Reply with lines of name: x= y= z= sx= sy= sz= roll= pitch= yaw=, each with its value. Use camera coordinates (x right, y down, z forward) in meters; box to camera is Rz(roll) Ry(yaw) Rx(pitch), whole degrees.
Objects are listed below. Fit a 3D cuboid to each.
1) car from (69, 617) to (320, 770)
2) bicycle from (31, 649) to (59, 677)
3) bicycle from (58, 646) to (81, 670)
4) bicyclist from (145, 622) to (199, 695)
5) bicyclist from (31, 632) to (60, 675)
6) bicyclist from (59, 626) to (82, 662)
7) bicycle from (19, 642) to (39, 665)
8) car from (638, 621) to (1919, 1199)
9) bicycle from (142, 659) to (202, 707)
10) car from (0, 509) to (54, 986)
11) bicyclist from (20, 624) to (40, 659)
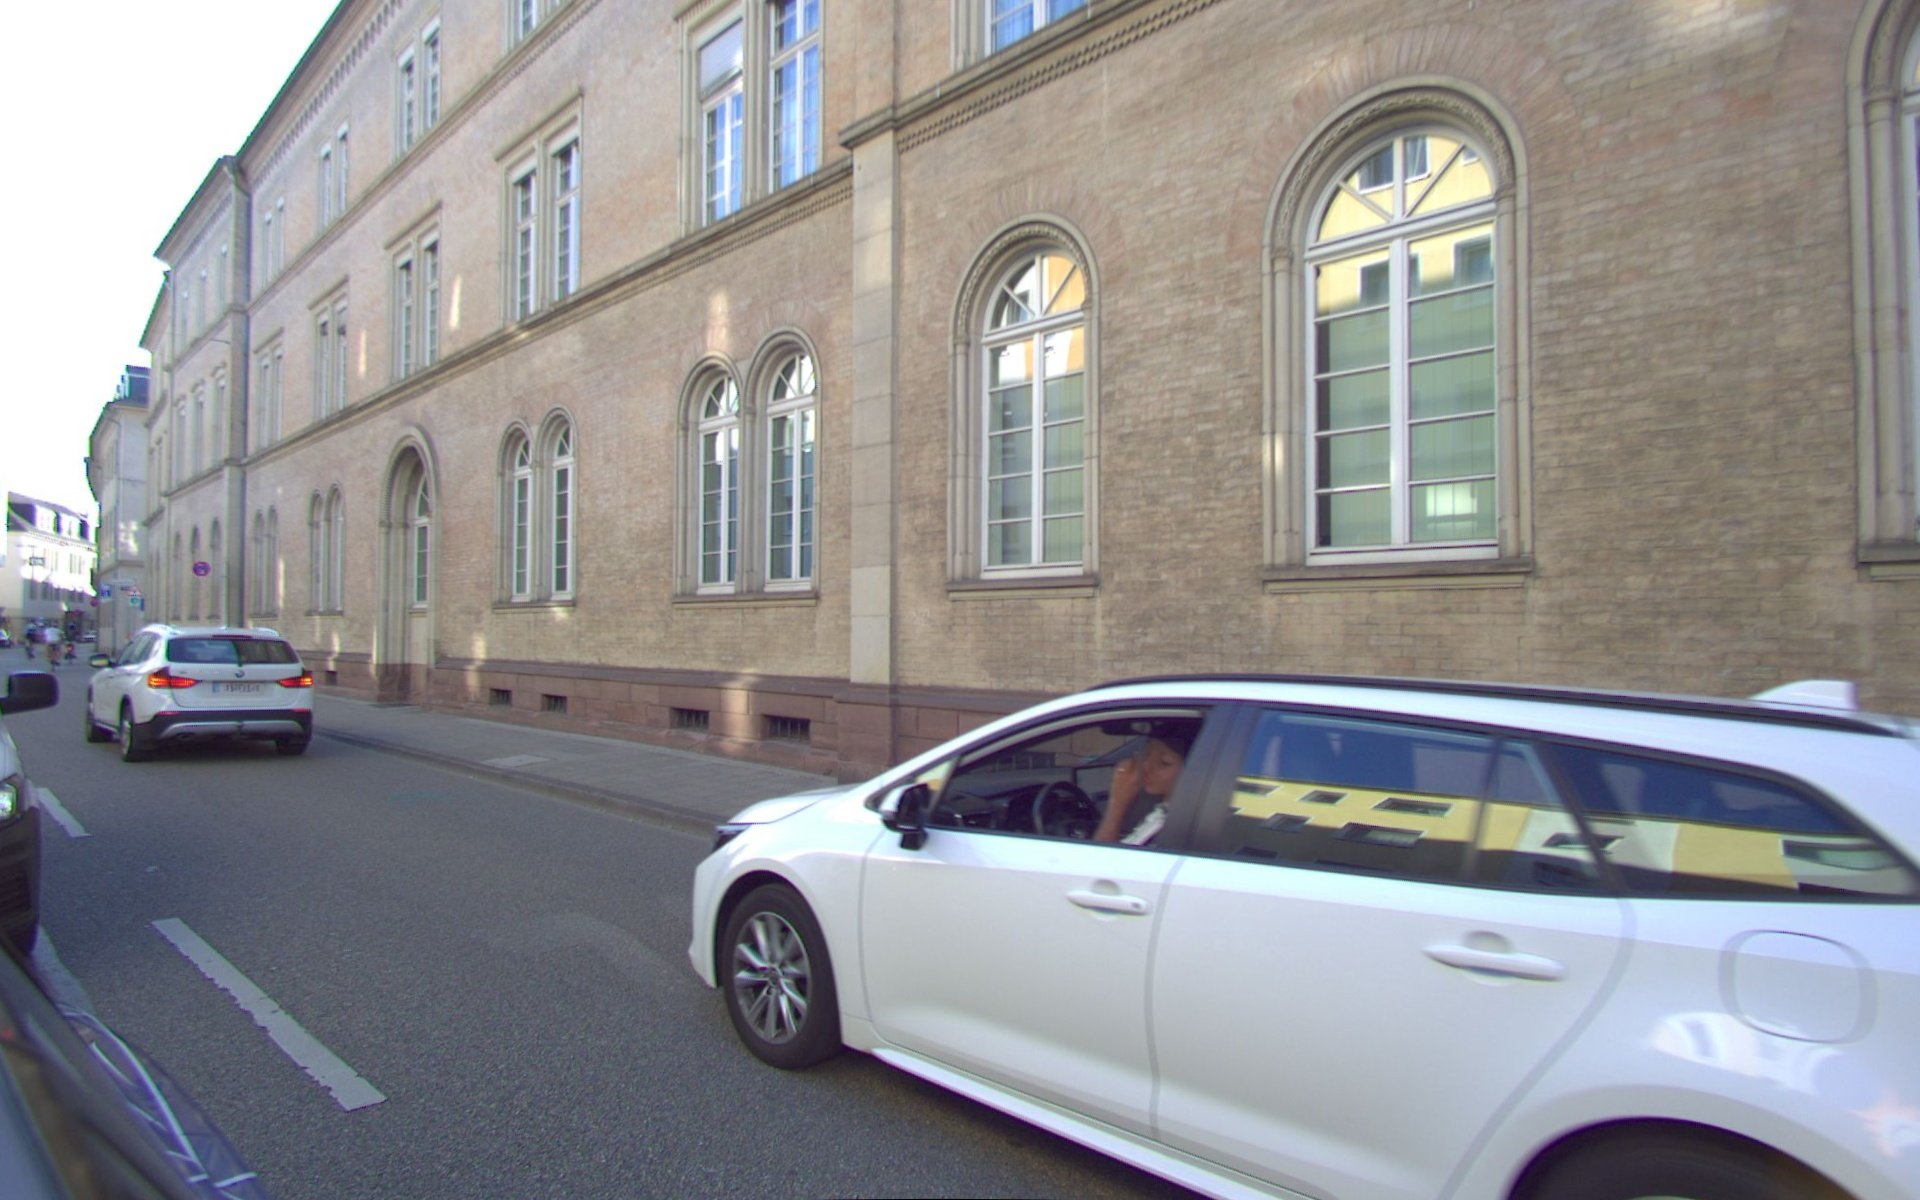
car: x=-9.648 y=1.071 z=12.627 sx=4.274 sy=1.595 sz=1.667 roll=-2 pitch=-5 yaw=42
bicycle: x=-34.035 y=2.340 z=37.644 sx=0.642 sy=1.014 sz=1.807 roll=5 pitch=-5 yaw=-44
bicycle: x=-38.333 y=2.489 z=43.568 sx=0.642 sy=1.014 sz=1.878 roll=5 pitch=-5 yaw=-40
bicyclist: x=-16.357 y=1.216 z=21.011 sx=0.871 sy=1.487 sz=0.678 roll=-2 pitch=-5 yaw=44
bicyclist: x=-34.028 y=1.985 z=37.655 sx=0.642 sy=1.579 sz=0.961 roll=5 pitch=-5 yaw=-44
bicyclist: x=-38.345 y=1.882 z=43.621 sx=0.642 sy=1.520 sz=1.113 roll=5 pitch=-5 yaw=-41
bicycle: x=-42.788 y=2.464 z=46.517 sx=0.538 sy=1.014 sz=1.759 roll=5 pitch=-5 yaw=-40
car: x=1.063 y=0.855 z=3.158 sx=4.544 sy=1.487 sz=1.866 roll=-1 pitch=-4 yaw=42
bicycle: x=-16.367 y=1.711 z=21.005 sx=1.767 sy=0.931 sz=0.678 roll=-2 pitch=-5 yaw=44
car: x=-6.227 y=0.614 z=5.120 sx=5.338 sy=1.850 sz=1.795 roll=-2 pitch=-3 yaw=41
bicyclist: x=-42.824 y=1.918 z=46.601 sx=0.538 sy=1.545 sz=0.871 roll=5 pitch=-5 yaw=-40
